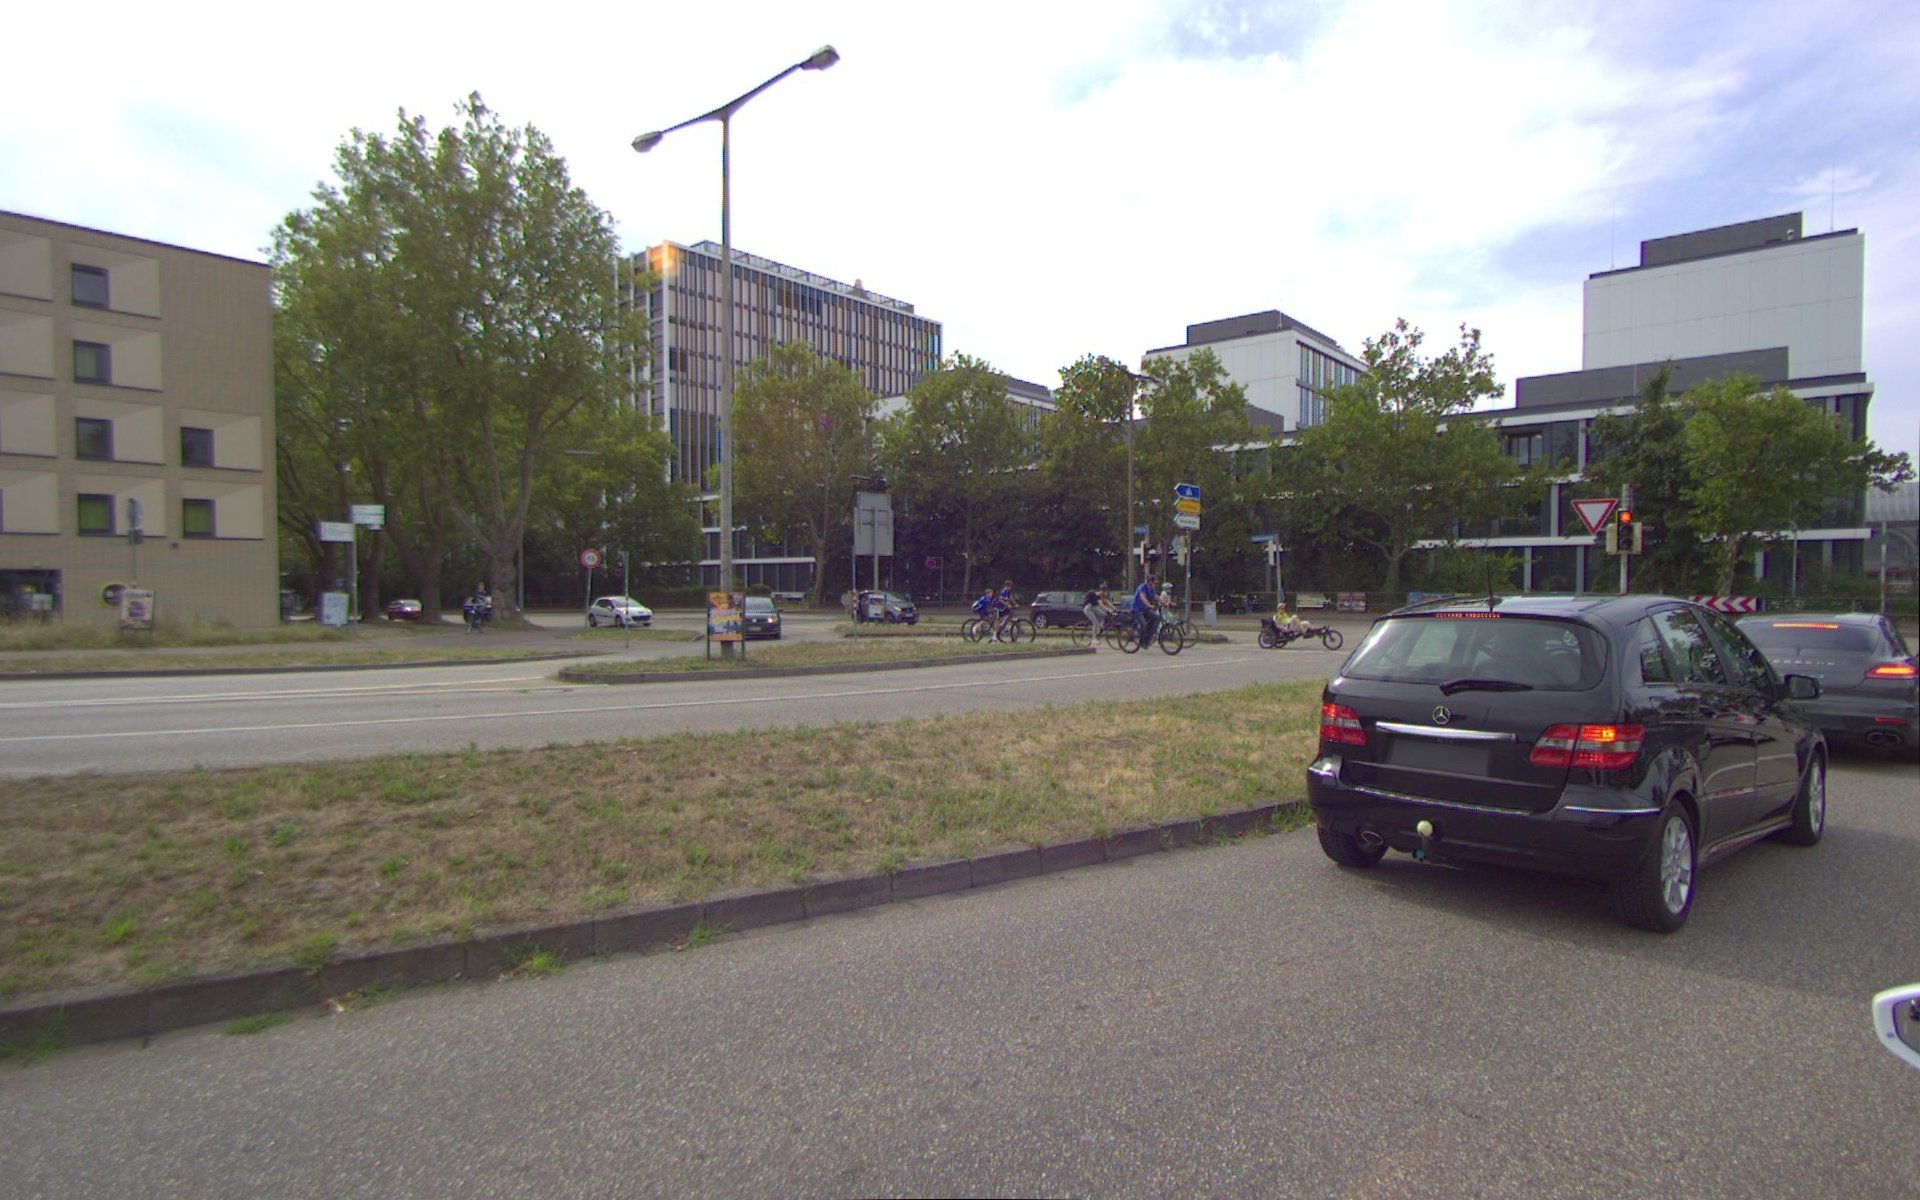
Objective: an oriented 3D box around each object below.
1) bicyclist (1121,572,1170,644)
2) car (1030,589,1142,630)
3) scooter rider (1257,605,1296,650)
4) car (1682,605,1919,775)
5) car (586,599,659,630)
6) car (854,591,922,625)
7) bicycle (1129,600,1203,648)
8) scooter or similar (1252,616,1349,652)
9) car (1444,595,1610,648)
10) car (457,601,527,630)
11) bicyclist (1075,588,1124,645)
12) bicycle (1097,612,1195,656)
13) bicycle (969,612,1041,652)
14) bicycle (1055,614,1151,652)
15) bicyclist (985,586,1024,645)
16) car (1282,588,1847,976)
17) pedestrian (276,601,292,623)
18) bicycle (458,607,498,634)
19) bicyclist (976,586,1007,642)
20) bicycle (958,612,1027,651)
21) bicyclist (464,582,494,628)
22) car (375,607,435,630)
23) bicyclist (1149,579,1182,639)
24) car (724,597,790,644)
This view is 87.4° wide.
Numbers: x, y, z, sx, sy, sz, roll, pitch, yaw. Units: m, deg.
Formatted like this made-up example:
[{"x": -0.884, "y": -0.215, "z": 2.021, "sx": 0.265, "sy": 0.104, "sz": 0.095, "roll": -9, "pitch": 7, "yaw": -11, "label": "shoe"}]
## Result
[{"x": 4.451, "y": 0.185, "z": 24.121, "sx": 0.870, "sy": 1.678, "sz": 0.808, "roll": 1, "pitch": 1, "yaw": 39, "label": "bicyclist"}, {"x": 4.797, "y": 0.329, "z": 38.514, "sx": 4.010, "sy": 1.470, "sz": 1.694, "roll": 1, "pitch": 1, "yaw": 41, "label": "car"}, {"x": 8.410, "y": 0.729, "z": 26.685, "sx": 0.899, "sy": 1.152, "sz": 0.808, "roll": 1, "pitch": 1, "yaw": 24, "label": "scooter rider"}, {"x": 9.500, "y": 0.808, "z": 11.172, "sx": 1.799, "sy": 1.433, "sz": 4.748, "roll": 2, "pitch": 1, "yaw": 43, "label": "car"}, {"x": -16.823, "y": 0.710, "z": 50.013, "sx": 3.818, "sy": 1.464, "sz": 1.723, "roll": 1, "pitch": 0, "yaw": 40, "label": "car"}, {"x": -3.168, "y": 0.320, "z": 43.970, "sx": 2.677, "sy": 1.441, "sz": 1.493, "roll": 1, "pitch": 1, "yaw": 38, "label": "car"}, {"x": 5.575, "y": 0.635, "z": 27.220, "sx": 1.870, "sy": 1.226, "sz": 0.643, "roll": 0, "pitch": 1, "yaw": 22, "label": "bicycle"}, {"x": 8.949, "y": 0.870, "z": 26.444, "sx": 2.341, "sy": 0.861, "sz": 0.808, "roll": 0, "pitch": 1, "yaw": 25, "label": "scooter or similar"}, {"x": 16.226, "y": 0.574, "z": 28.812, "sx": 4.003, "sy": 1.386, "sz": 1.697, "roll": 1, "pitch": 1, "yaw": 36, "label": "car"}, {"x": -27.794, "y": 0.911, "z": 59.666, "sx": 4.392, "sy": 1.581, "sz": 1.942, "roll": 1, "pitch": 0, "yaw": 37, "label": "car"}, {"x": 3.641, "y": 0.408, "z": 26.301, "sx": 1.101, "sy": 1.456, "sz": 0.644, "roll": 1, "pitch": 1, "yaw": 43, "label": "bicyclist"}, {"x": 4.442, "y": 0.790, "z": 24.115, "sx": 2.201, "sy": 0.965, "sz": 0.808, "roll": 1, "pitch": 1, "yaw": 39, "label": "bicycle"}, {"x": 1.218, "y": 0.840, "z": 26.962, "sx": 1.868, "sy": 1.027, "sz": 0.629, "roll": 0, "pitch": 1, "yaw": 8, "label": "bicycle"}, {"x": 3.700, "y": 0.840, "z": 26.237, "sx": 2.555, "sy": 0.902, "sz": 0.700, "roll": 1, "pitch": 1, "yaw": 43, "label": "bicycle"}, {"x": 1.195, "y": 0.408, "z": 26.957, "sx": 0.999, "sy": 1.560, "sz": 0.629, "roll": 0, "pitch": 1, "yaw": 8, "label": "bicyclist"}, {"x": 3.882, "y": 0.748, "z": 6.179, "sx": 4.002, "sy": 1.596, "sz": 1.742, "roll": -1, "pitch": 2, "yaw": -40, "label": "car"}, {"x": -34.656, "y": 0.609, "z": 51.505, "sx": 0.454, "sy": 1.140, "sz": 0.502, "roll": 1, "pitch": 1, "yaw": 9, "label": "pedestrian"}, {"x": -17.383, "y": 0.743, "z": 36.251, "sx": 0.728, "sy": 0.921, "sz": 2.116, "roll": 0, "pitch": 0, "yaw": -9, "label": "bicycle"}, {"x": 0.876, "y": 0.377, "z": 28.100, "sx": 0.824, "sy": 1.550, "sz": 0.629, "roll": 0, "pitch": 1, "yaw": 6, "label": "bicyclist"}, {"x": 0.921, "y": 0.875, "z": 28.105, "sx": 1.868, "sy": 1.027, "sz": 0.629, "roll": 0, "pitch": 1, "yaw": 6, "label": "bicycle"}, {"x": -17.381, "y": 0.195, "z": 36.291, "sx": 0.728, "sy": 1.636, "sz": 0.919, "roll": 0, "pitch": 1, "yaw": -9, "label": "bicyclist"}, {"x": -36.424, "y": 1.201, "z": 65.901, "sx": 4.147, "sy": 1.399, "sz": 1.943, "roll": 1, "pitch": 0, "yaw": 36, "label": "car"}, {"x": 5.559, "y": 0.234, "z": 27.210, "sx": 0.766, "sy": 1.602, "sz": 0.654, "roll": 1, "pitch": 1, "yaw": 21, "label": "bicyclist"}, {"x": -6.754, "y": 0.650, "z": 33.759, "sx": 1.765, "sy": 1.438, "sz": 3.996, "roll": 1, "pitch": 0, "yaw": -6, "label": "car"}]
